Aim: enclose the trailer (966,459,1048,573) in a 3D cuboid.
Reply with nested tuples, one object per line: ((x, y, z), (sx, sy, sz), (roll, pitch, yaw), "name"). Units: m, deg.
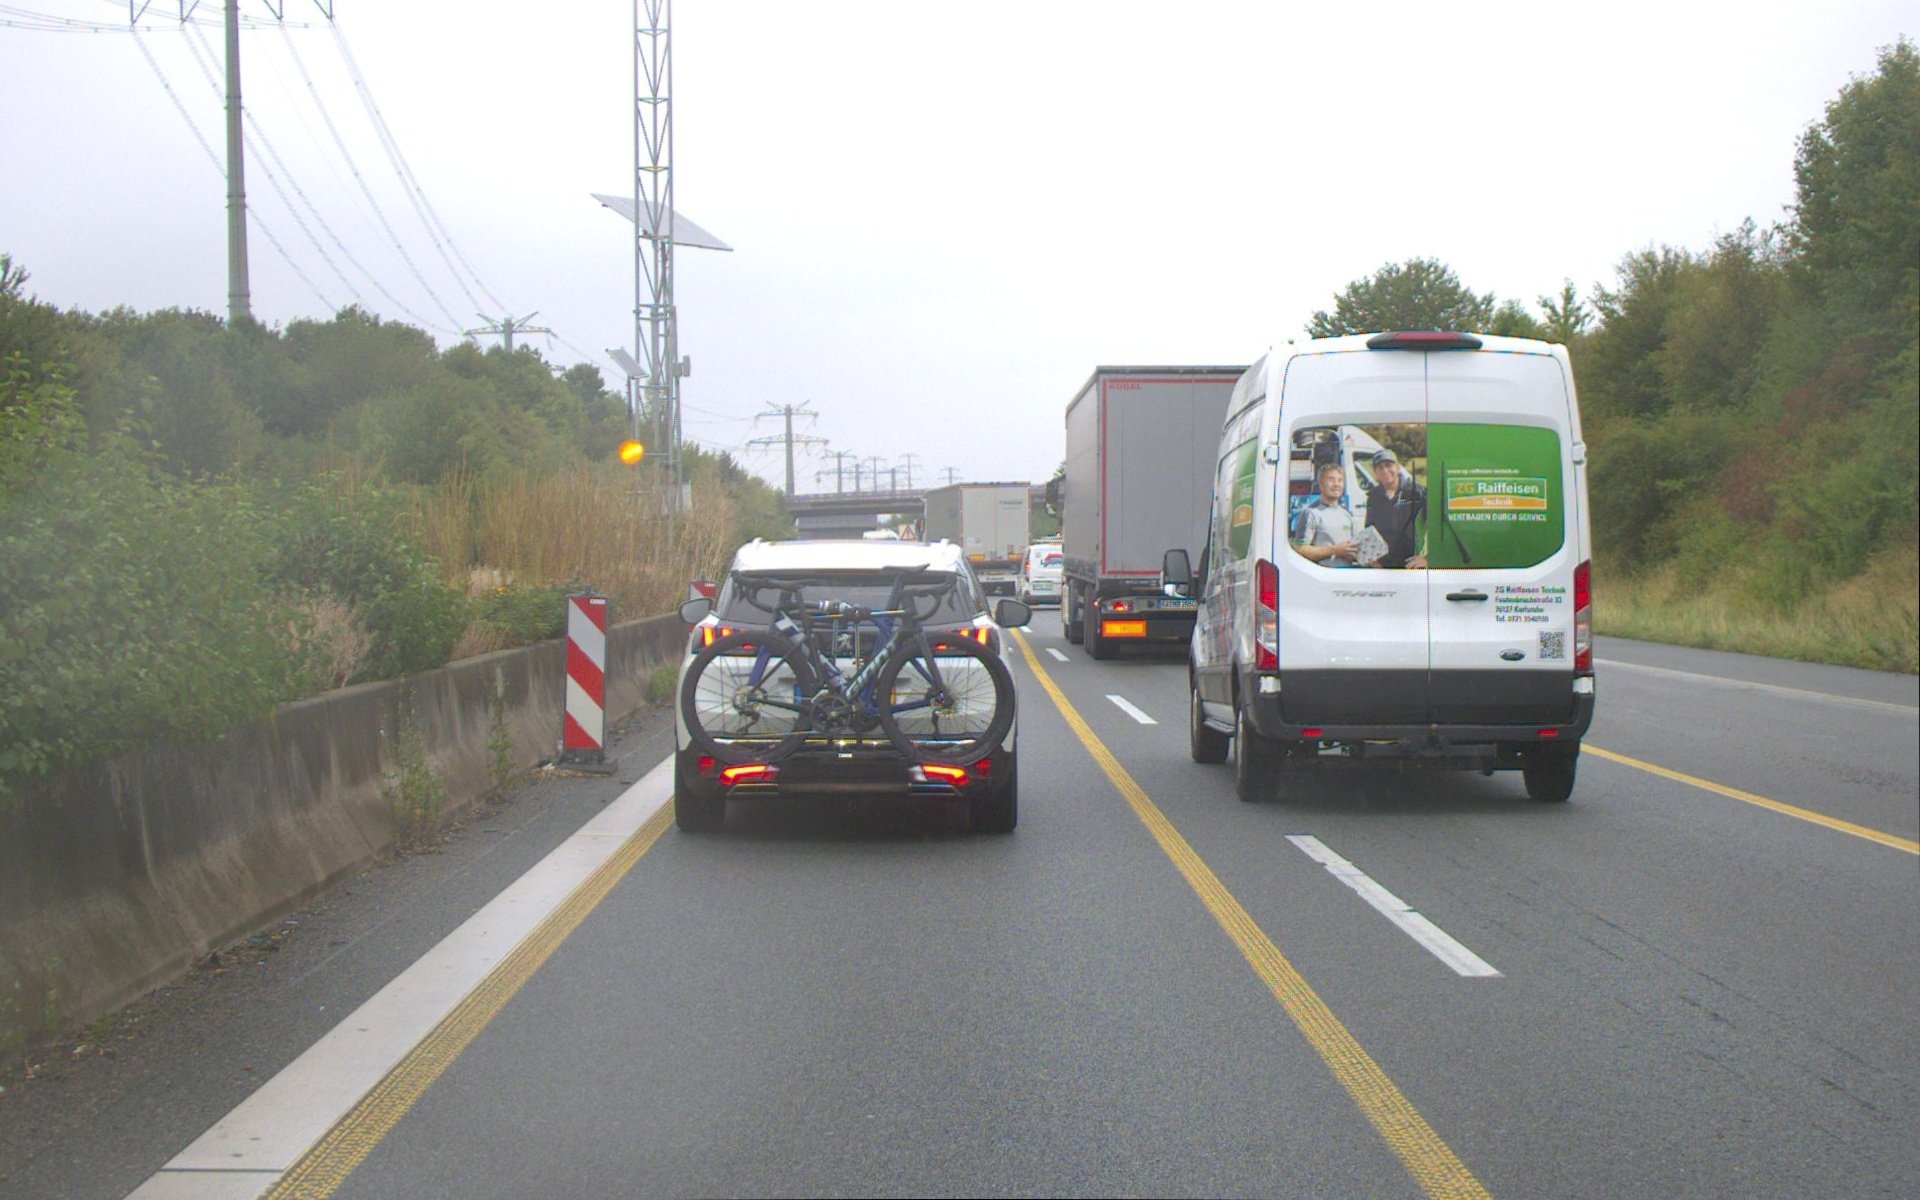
((1.695, -3.124, 129.528), (2.692, 4.062, 13.634), (0, 1, -1), "trailer")

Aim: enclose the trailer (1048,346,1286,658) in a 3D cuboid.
((2.915, -1.403, 52.380), (2.706, 4.132, 13.733), (0, 1, 0), "trailer")

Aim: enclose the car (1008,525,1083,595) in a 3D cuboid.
((2.289, -1.079, 92.764), (1.829, 1.833, 4.656), (0, 1, -1), "car")

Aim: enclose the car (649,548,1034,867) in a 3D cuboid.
((-0.603, 0.483, 18.927), (1.850, 1.525, 4.769), (0, 1, -1), "car")

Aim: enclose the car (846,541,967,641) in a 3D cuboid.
((-0.851, -0.171, 54.660), (1.850, 1.525, 4.000), (0, 1, -1), "car")

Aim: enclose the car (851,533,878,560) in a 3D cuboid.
((-7.055, -3.957, 253.438), (1.931, 1.966, 4.001), (0, 2, -1), "car")

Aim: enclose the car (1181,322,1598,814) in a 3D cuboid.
((2.611, -0.226, 22.312), (1.993, 2.773, 5.756), (0, 1, 0), "car")

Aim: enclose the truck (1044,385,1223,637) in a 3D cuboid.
((2.908, -1.498, 59.108), (2.706, 4.124, 5.691), (0, 1, -1), "truck")

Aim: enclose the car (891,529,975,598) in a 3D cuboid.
((-0.630, -0.839, 77.802), (1.850, 1.525, 4.000), (0, 1, -1), "car")
